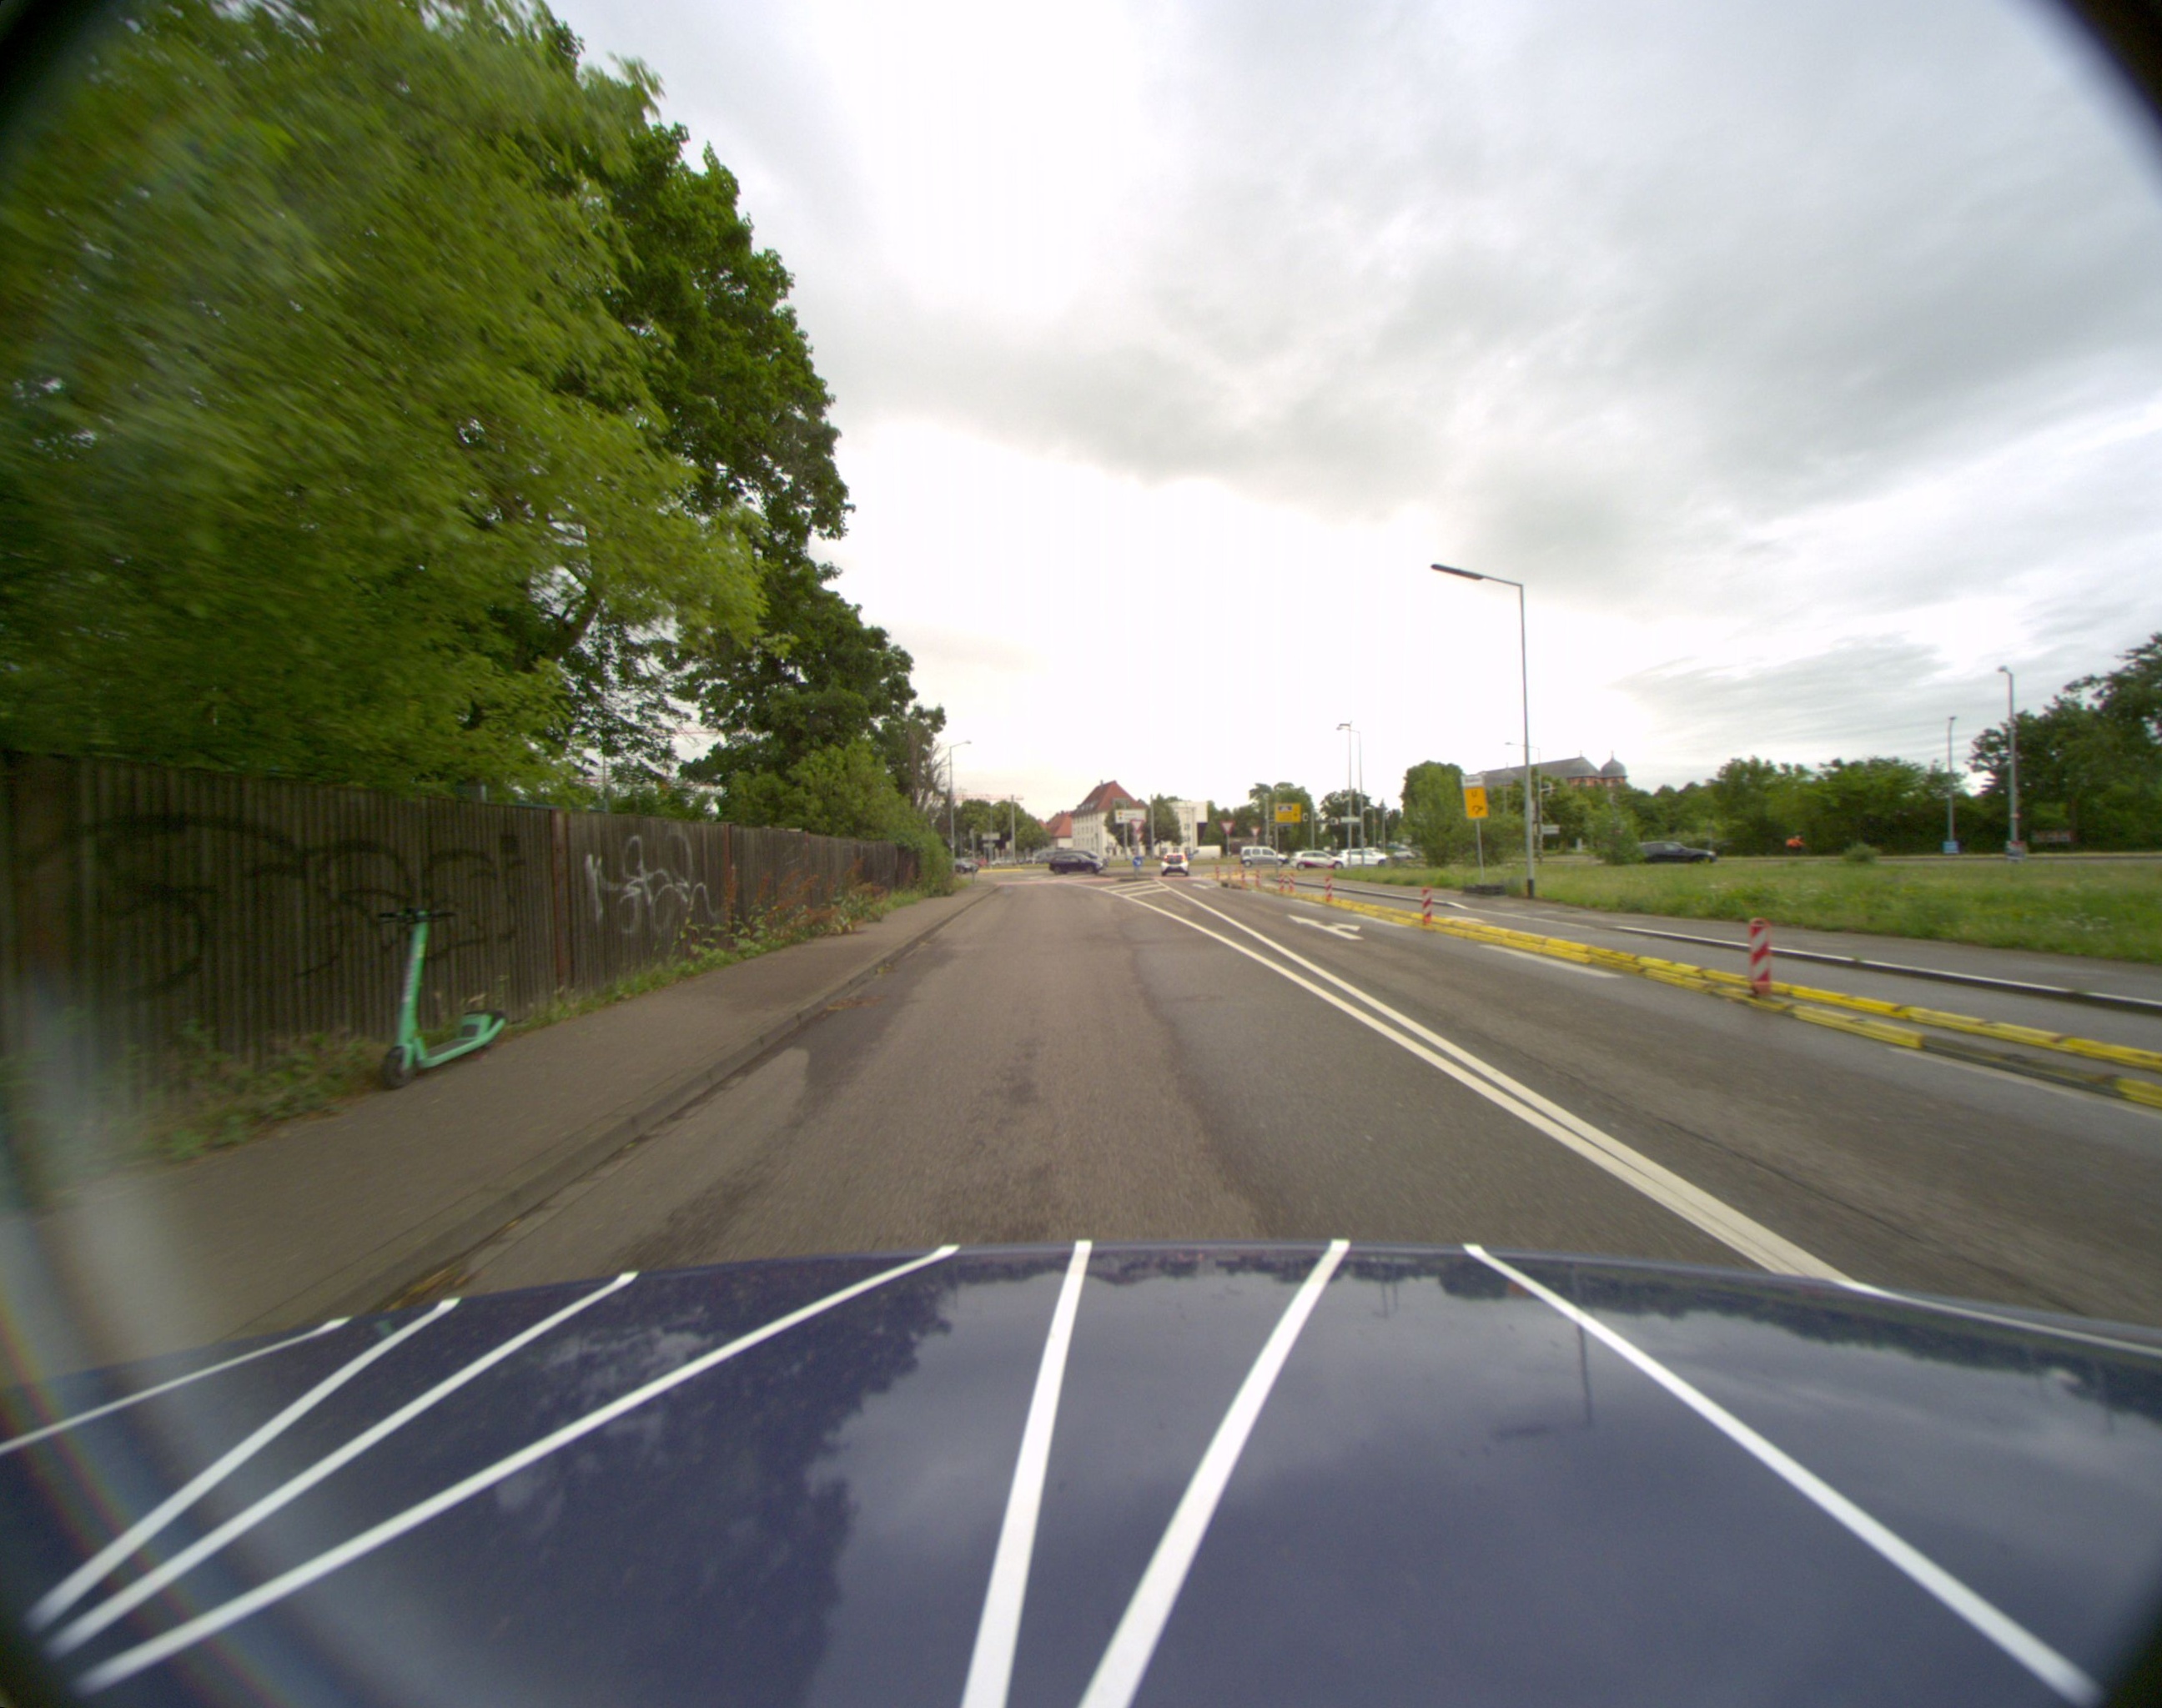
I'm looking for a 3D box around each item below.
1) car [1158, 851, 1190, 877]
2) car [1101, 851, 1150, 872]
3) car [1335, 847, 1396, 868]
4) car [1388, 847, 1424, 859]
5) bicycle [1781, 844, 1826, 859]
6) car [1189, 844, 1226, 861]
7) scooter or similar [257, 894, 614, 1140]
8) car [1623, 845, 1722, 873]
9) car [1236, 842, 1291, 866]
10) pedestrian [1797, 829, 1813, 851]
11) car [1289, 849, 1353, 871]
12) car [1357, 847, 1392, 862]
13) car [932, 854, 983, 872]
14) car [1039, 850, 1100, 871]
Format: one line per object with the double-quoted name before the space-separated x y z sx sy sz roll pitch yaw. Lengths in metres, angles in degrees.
"car" 6.121 0.639 50.345 1.755 1.578 3.901 1 0 2
"car" 3.970 0.639 68.102 4.005 1.705 1.932 -2 1 17
"car" 22.734 0.278 60.829 4.466 1.449 1.924 -2 0 18
"car" 41.986 -0.102 98.339 1.901 1.546 3.992 -2 0 -25
"bicycle" 59.883 -0.183 63.036 2.682 1.215 0.759 -2 -1 44
"car" 20.559 -0.207 123.493 5.597 2.527 2.244 -1 1 19
"scooter or similar" -4.446 0.999 5.562 0.693 1.304 2.352 -1 -1 -3
"car" 38.415 0.354 49.508 4.740 1.658 1.925 -2 1 24
"car" 15.944 -0.010 66.492 4.479 1.893 1.923 -2 1 8
"pedestrian" 59.979 -1.176 62.954 0.971 1.760 0.750 -1 0 44
"car" 18.045 0.451 57.264 4.425 1.449 1.834 -2 1 12
"car" 29.660 0.035 76.714 1.916 1.446 4.484 -1 1 40
"car" -11.614 0.857 71.589 4.352 1.608 2.002 -1 0 11
"car" -0.935 0.554 61.540 4.466 1.557 1.924 -2 1 20
